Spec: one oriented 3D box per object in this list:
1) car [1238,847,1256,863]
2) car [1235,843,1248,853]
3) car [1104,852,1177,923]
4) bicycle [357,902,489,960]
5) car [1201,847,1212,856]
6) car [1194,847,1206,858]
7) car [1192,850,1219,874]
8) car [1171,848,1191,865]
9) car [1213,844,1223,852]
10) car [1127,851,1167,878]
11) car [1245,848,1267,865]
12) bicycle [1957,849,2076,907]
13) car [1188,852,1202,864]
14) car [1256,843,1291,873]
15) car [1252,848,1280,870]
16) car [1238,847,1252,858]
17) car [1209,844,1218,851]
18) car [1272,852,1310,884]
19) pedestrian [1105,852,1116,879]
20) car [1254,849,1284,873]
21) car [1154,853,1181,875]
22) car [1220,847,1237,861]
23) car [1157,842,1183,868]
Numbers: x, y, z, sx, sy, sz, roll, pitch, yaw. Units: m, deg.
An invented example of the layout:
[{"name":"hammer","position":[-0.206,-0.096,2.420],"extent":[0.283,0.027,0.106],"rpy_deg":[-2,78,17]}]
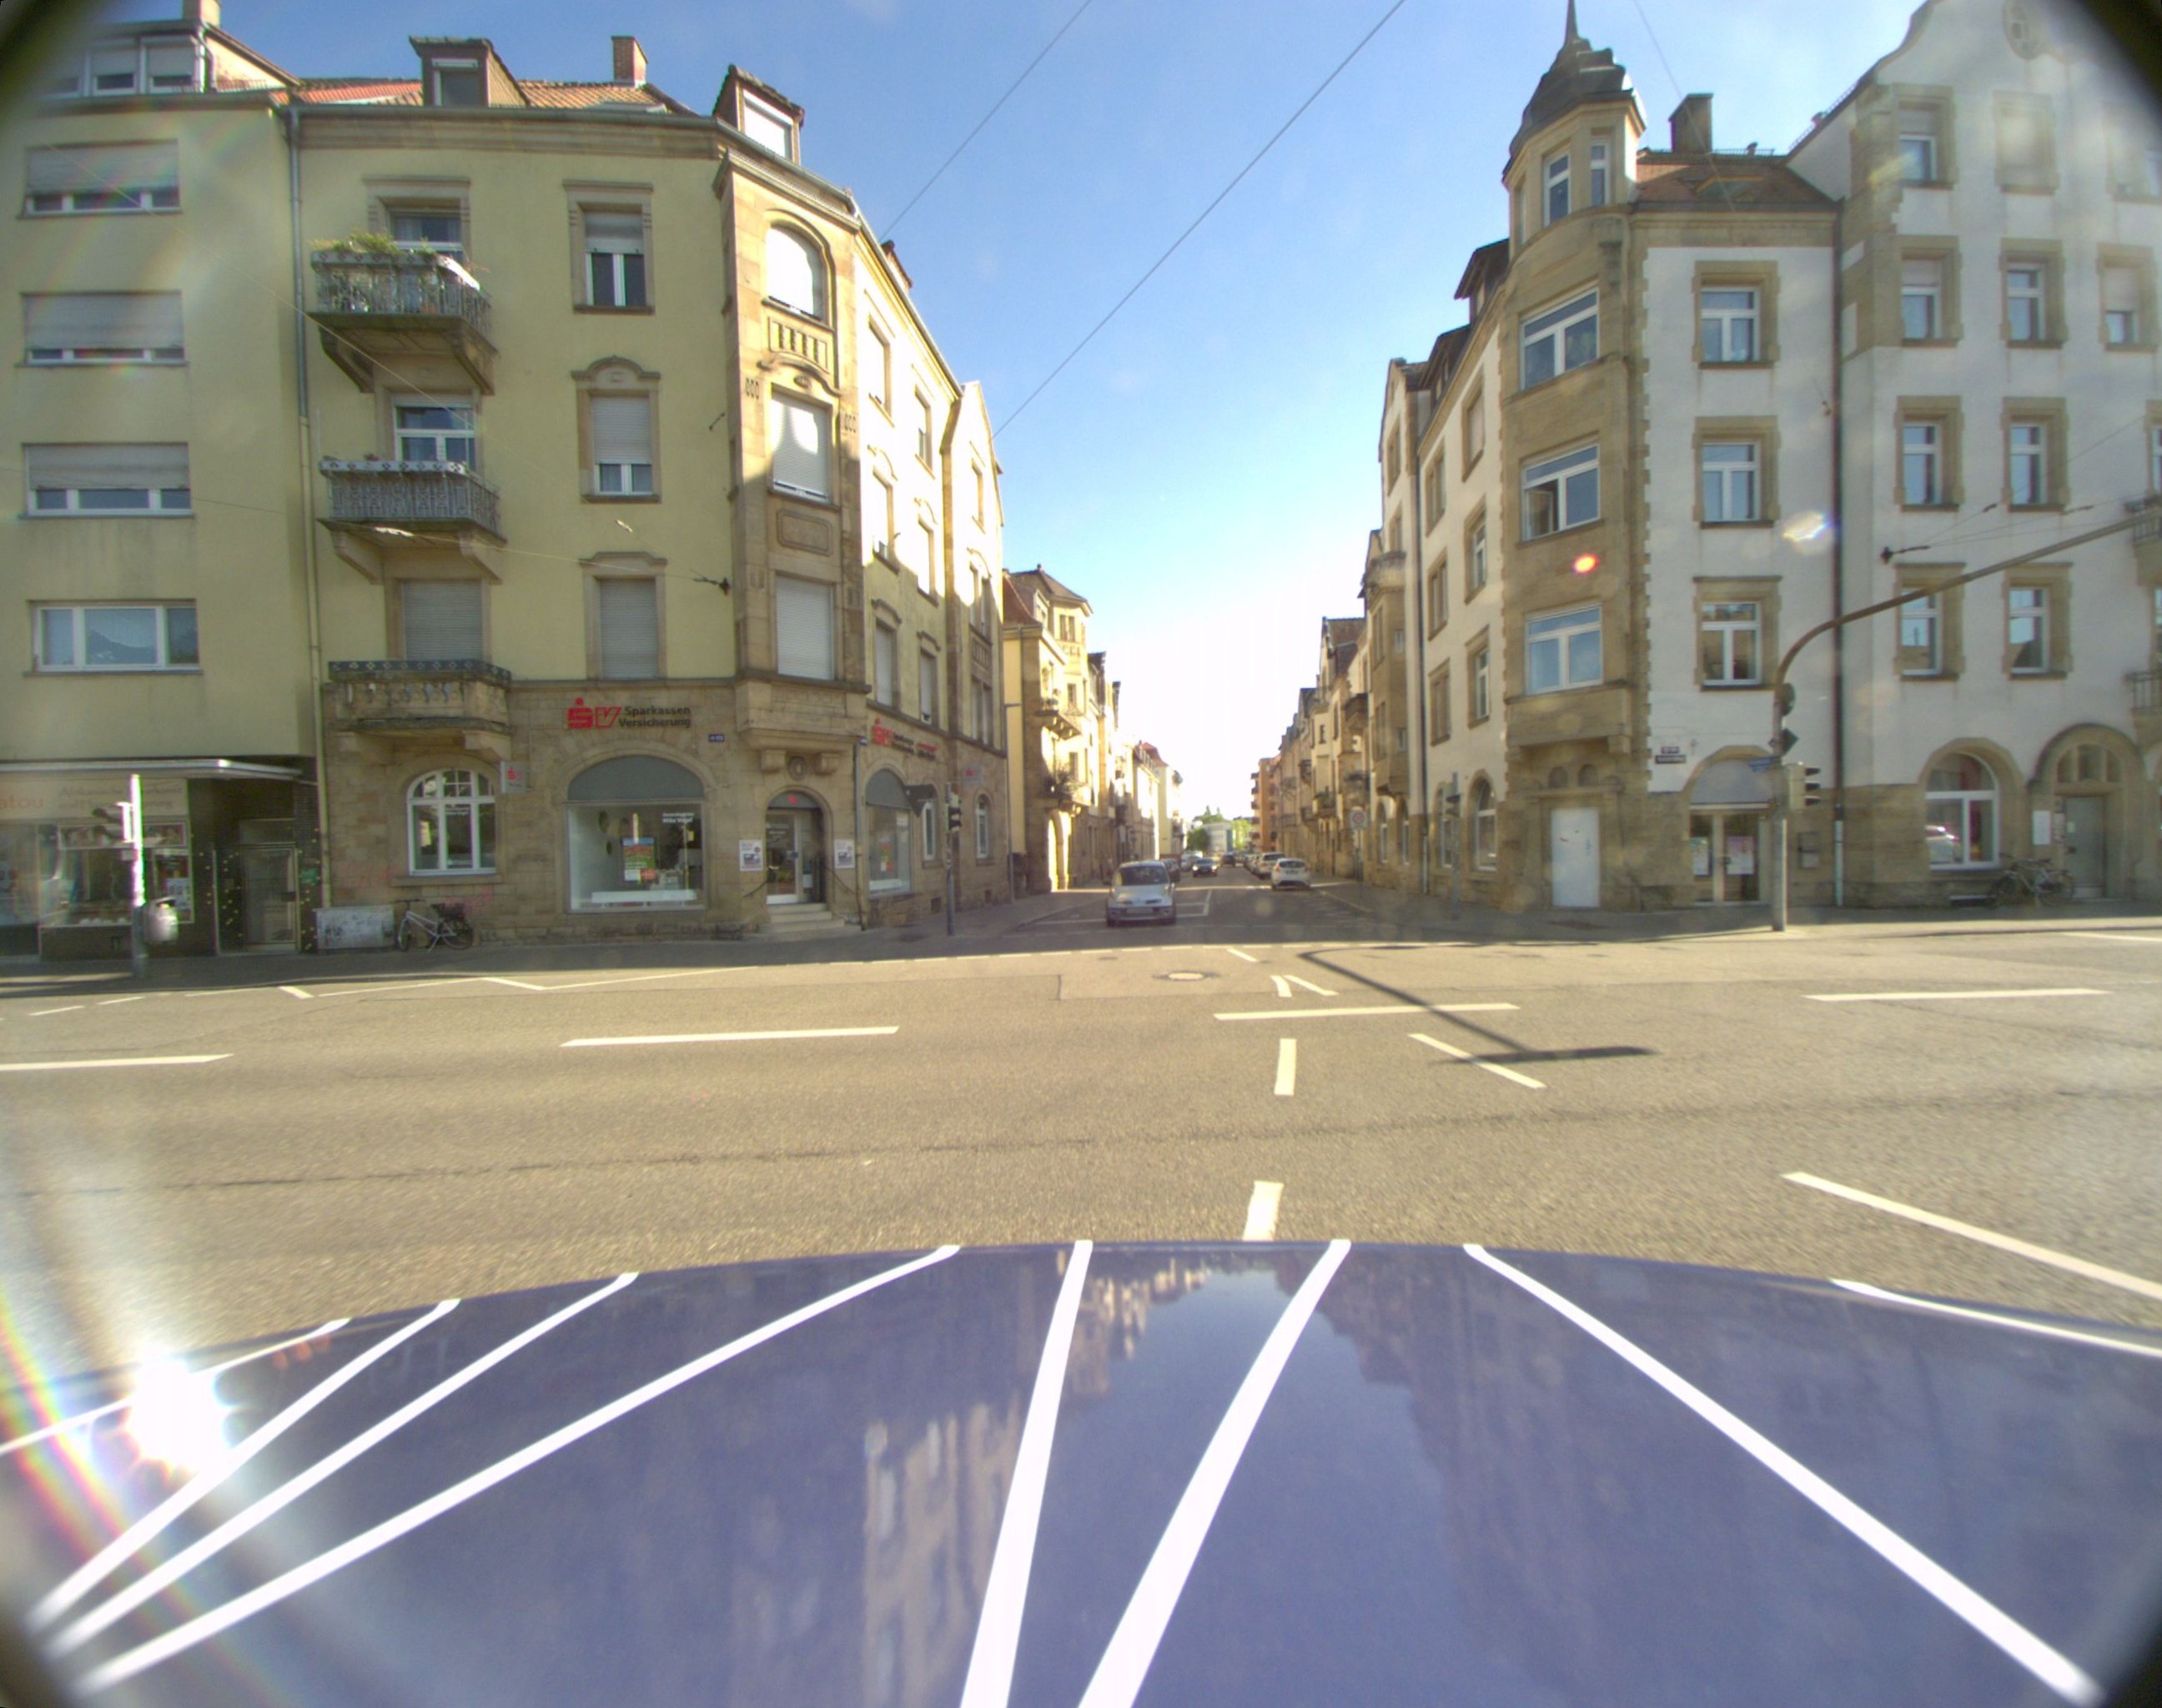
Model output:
[{"name":"car","position":[20.029,0.112,91.780],"extent":[1.916,1.614,4.349],"rpy_deg":[-5,0,11]},{"name":"car","position":[27.447,-1.059,130.167],"extent":[1.916,1.614,4.349],"rpy_deg":[-5,0,10]},{"name":"car","position":[1.549,0.771,19.368],"extent":[1.651,1.559,3.617],"rpy_deg":[-1,1,5]},{"name":"bicycle","position":[-12.584,1.467,14.563],"extent":[1.952,0.970,0.516],"rpy_deg":[-1,3,-2]},{"name":"car","position":[25.108,-0.542,152.384],"extent":[1.876,1.657,4.003],"rpy_deg":[-3,1,12]},{"name":"car","position":[20.269,-0.311,129.294],"extent":[1.876,1.657,4.003],"rpy_deg":[-3,1,12]},{"name":"car","position":[9.794,0.599,59.649],"extent":[1.876,1.657,4.003],"rpy_deg":[-3,1,12]},{"name":"car","position":[10.329,0.208,78.153],"extent":[1.832,1.586,3.822],"rpy_deg":[-4,-1,9]},{"name":"car","position":[30.025,-1.280,166.098],"extent":[1.876,1.657,4.003],"rpy_deg":[-3,1,12]},{"name":"car","position":[4.209,0.635,47.894],"extent":[1.997,1.528,4.003],"rpy_deg":[-4,0,12]},{"name":"car","position":[17.315,0.233,75.218],"extent":[1.916,1.509,4.349],"rpy_deg":[-5,0,12]},{"name":"bicycle","position":[19.285,0.486,15.681],"extent":[1.809,1.127,0.610],"rpy_deg":[-1,1,-3]},{"name":"car","position":[17.717,0.546,118.307],"extent":[1.876,1.657,4.003],"rpy_deg":[-3,1,12]},{"name":"car","position":[12.604,0.226,49.917],"extent":[1.916,1.649,4.349],"rpy_deg":[-5,0,12]},{"name":"car","position":[14.964,0.412,61.620],"extent":[1.916,1.509,4.349],"rpy_deg":[-5,0,12]},{"name":"car","position":[25.859,-0.230,119.719],"extent":[1.916,1.614,4.349],"rpy_deg":[-5,0,10]},{"name":"car","position":[34.997,-1.805,200.615],"extent":[1.876,1.657,4.003],"rpy_deg":[-3,1,12]},{"name":"car","position":[9.730,0.598,35.370],"extent":[1.555,1.403,3.574],"rpy_deg":[1,1,13]},{"name":"pedestrian","position":[1.890,0.734,47.905],"extent":[0.578,1.712,0.698],"rpy_deg":[0,1,12]},{"name":"car","position":[13.765,0.501,55.882],"extent":[1.916,1.509,4.349],"rpy_deg":[-5,0,12]},{"name":"car","position":[7.002,0.765,61.302],"extent":[1.832,1.586,3.822],"rpy_deg":[-4,-1,9]},{"name":"car","position":[18.461,0.024,94.870],"extent":[1.915,1.718,4.350],"rpy_deg":[-1,0,13]},{"name":"car","position":[7.722,0.098,65.715],"extent":[1.832,2.022,3.823],"rpy_deg":[-4,0,11]}]
